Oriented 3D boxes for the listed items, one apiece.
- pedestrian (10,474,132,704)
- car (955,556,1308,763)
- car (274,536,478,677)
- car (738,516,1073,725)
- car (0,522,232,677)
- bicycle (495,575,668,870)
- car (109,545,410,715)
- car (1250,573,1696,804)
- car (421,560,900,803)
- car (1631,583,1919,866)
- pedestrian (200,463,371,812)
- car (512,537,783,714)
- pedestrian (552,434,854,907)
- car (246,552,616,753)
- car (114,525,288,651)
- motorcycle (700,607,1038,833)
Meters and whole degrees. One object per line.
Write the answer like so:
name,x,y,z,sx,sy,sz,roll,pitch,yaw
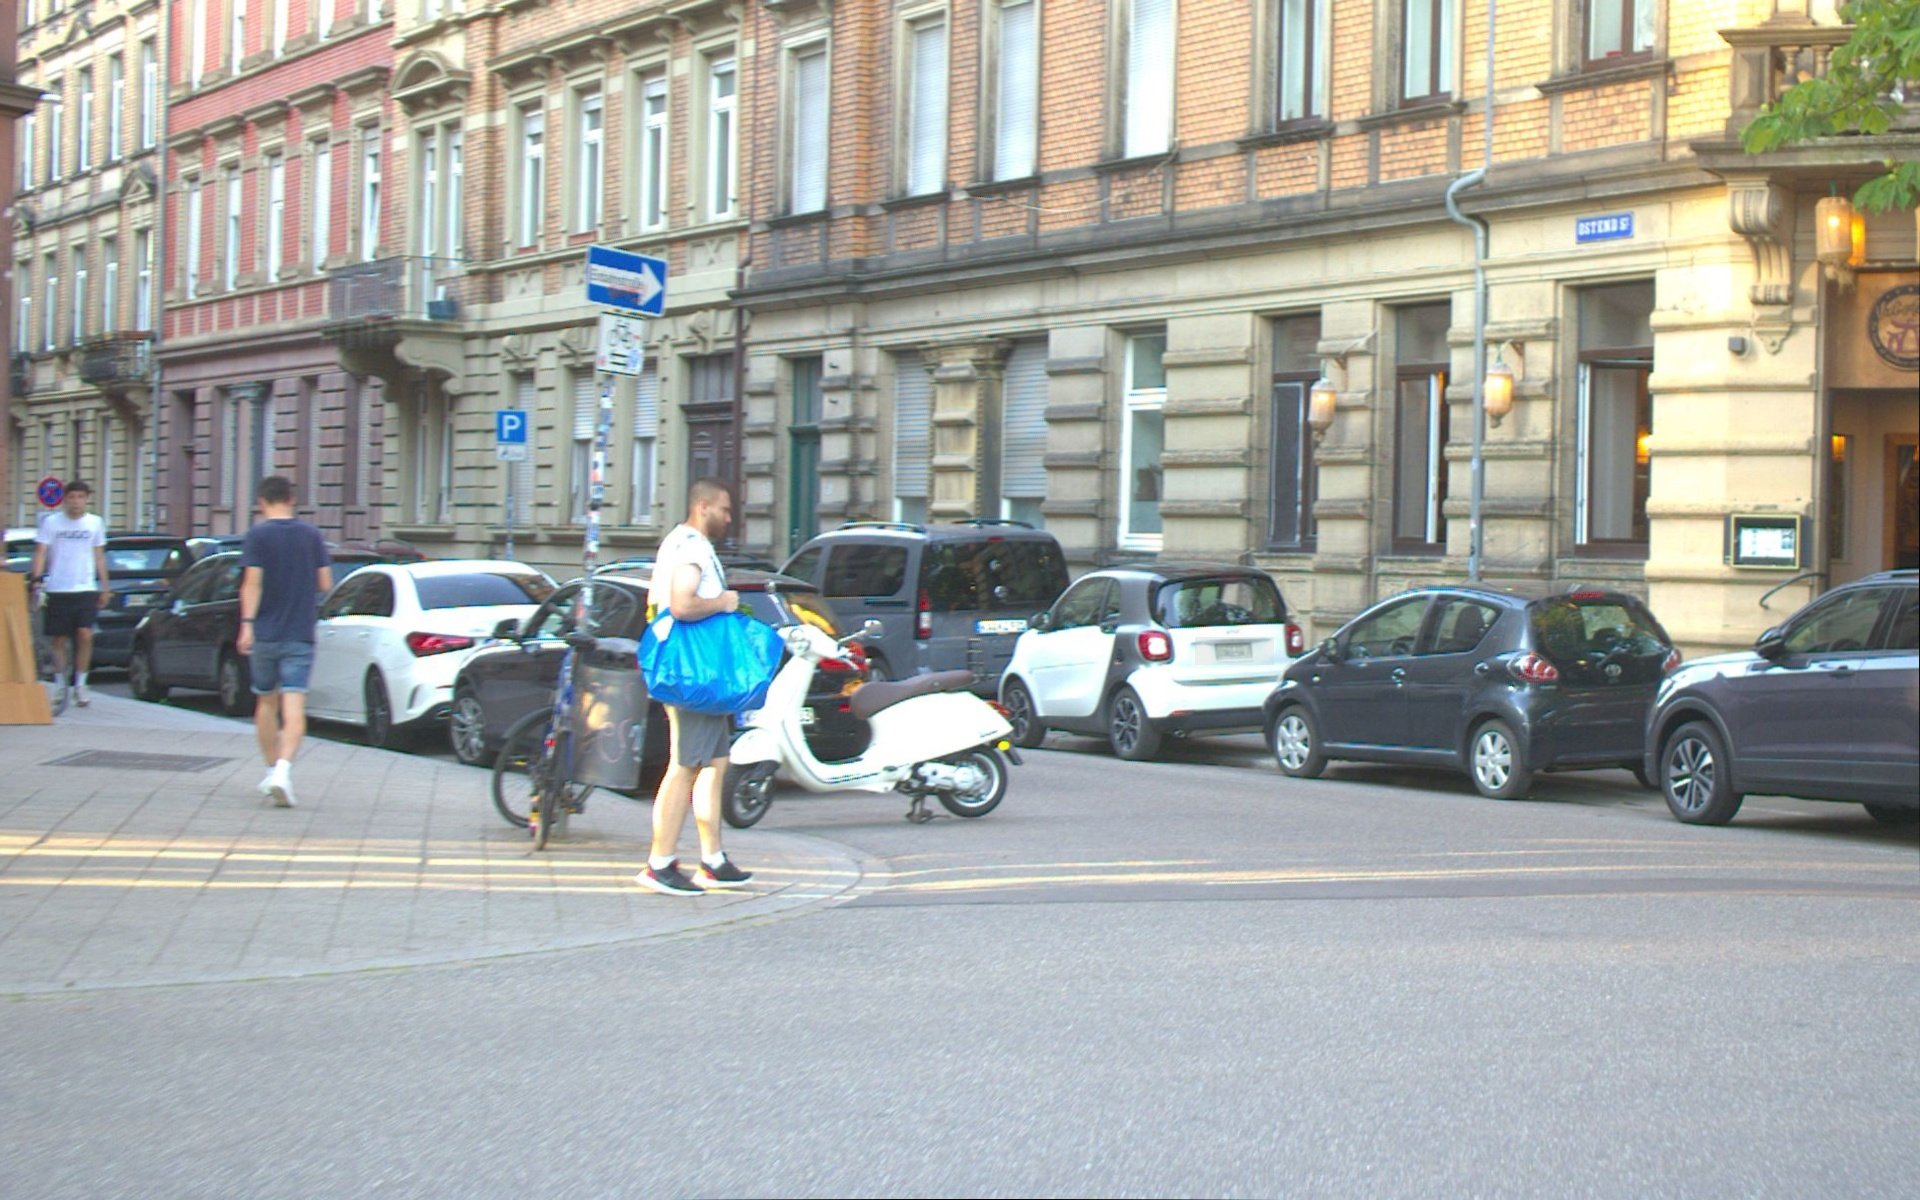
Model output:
pedestrian,-7.419,-0.104,28.667,0.778,1.817,0.925,5,1,-19
car,1.353,0.447,28.342,1.462,1.589,3.334,1,1,-26
car,-7.883,0.063,46.219,1.683,1.817,3.489,1,1,-28
car,-0.559,0.157,31.788,1.683,1.817,3.489,1,1,-28
car,-9.157,-0.029,36.870,1.574,1.566,4.120,1,1,-27
bicycle,-1.909,0.587,17.530,0.516,1.387,1.800,3,1,3
car,-6.567,0.231,31.885,1.574,1.453,4.425,1,1,-27
car,3.600,0.583,24.633,1.462,1.453,3.334,1,2,-27
car,-2.102,0.482,23.029,1.781,1.453,4.019,1,1,-27
car,5.770,0.702,20.017,1.627,1.540,3.859,1,1,-26
pedestrian,-3.679,0.191,18.801,0.685,1.817,0.793,5,1,-5
car,-3.418,0.241,37.070,1.683,1.817,3.489,1,1,-28
pedestrian,-1.143,0.307,15.211,1.006,2.007,0.869,2,0,-28
car,-4.311,0.363,27.463,1.574,1.453,4.425,1,1,-27
car,-11.448,-0.194,51.714,1.683,1.817,3.489,1,1,-28
motorcycle,-0.521,0.679,19.550,1.854,1.252,0.473,1,0,-10
